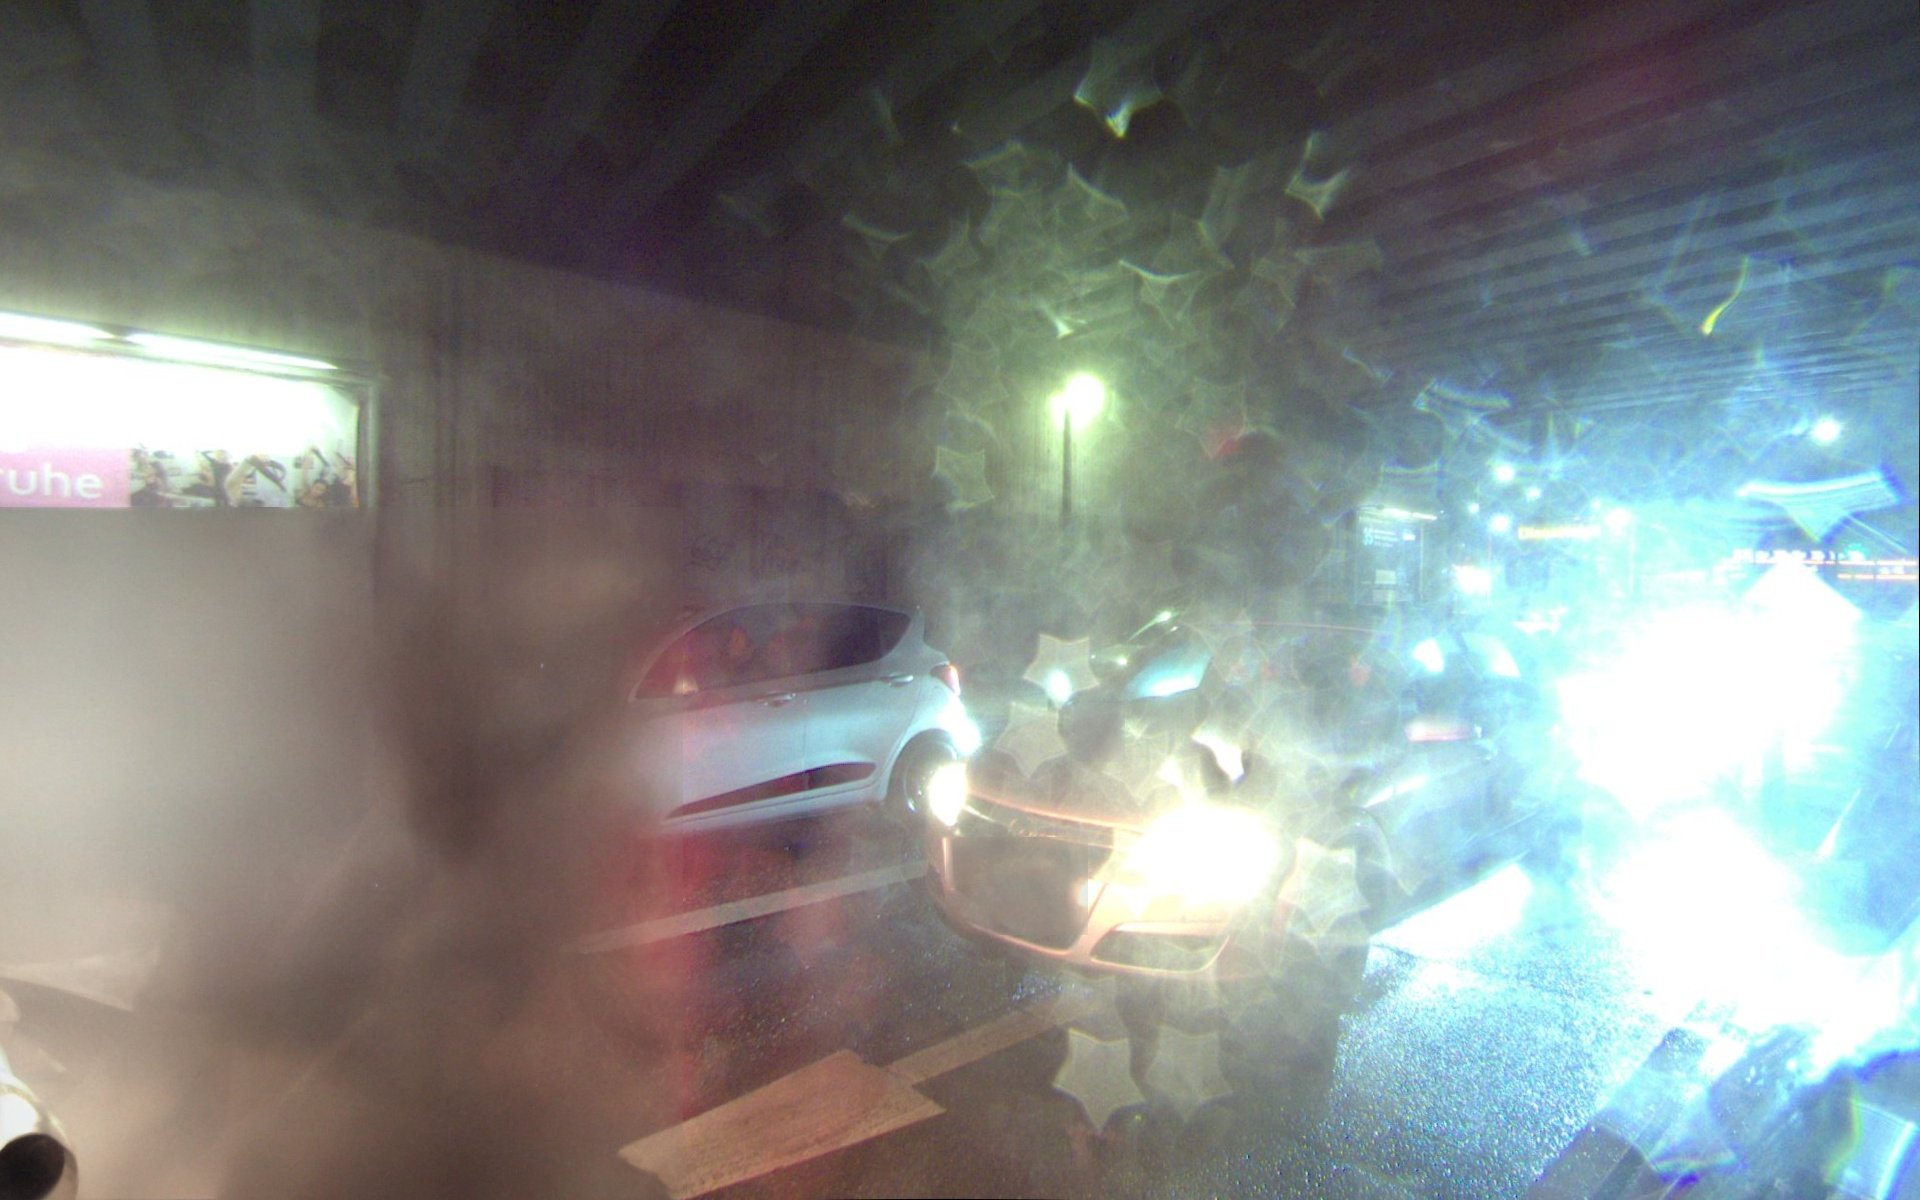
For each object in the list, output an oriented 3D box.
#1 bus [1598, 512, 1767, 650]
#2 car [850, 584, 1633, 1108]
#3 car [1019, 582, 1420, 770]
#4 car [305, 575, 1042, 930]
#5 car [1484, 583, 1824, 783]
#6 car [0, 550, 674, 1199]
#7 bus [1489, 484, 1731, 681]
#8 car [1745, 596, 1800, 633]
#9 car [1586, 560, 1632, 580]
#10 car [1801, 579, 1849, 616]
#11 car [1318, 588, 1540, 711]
[{"bbox_3d":[20.601,-0.539,28.548,2.733,3.278,9.551,1,1,43],"label":"bus"},{"bbox_3d":[1.633,0.663,4.875,4.091,1.464,1.723,-1,1,-42],"label":"car"},{"bbox_3d":[2.880,0.586,10.506,4.705,1.505,1.723,-1,2,-42],"label":"car"},{"bbox_3d":[-1.531,0.612,6.315,4.091,1.464,1.723,-1,3,-42],"label":"car"},{"bbox_3d":[6.747,0.631,9.664,4.091,1.506,1.722,-1,-2,-42],"label":"car"},{"bbox_3d":[-2.678,0.664,0.991,4.308,1.464,1.723,-1,3,-42],"label":"car"},{"bbox_3d":[14.134,-0.390,21.530,2.733,3.318,9.551,1,1,43],"label":"bus"},{"bbox_3d":[36.782,0.602,45.800,1.693,1.481,3.914,3,3,42],"label":"car"},{"bbox_3d":[46.344,-2.132,72.346,1.685,1.407,3.979,0,1,17],"label":"car"},{"bbox_3d":[43.650,-0.180,51.147,1.717,1.725,3.917,3,3,40],"label":"car"},{"bbox_3d":[7.084,0.614,15.082,1.721,1.505,4.096,3,3,44],"label":"car"}]
